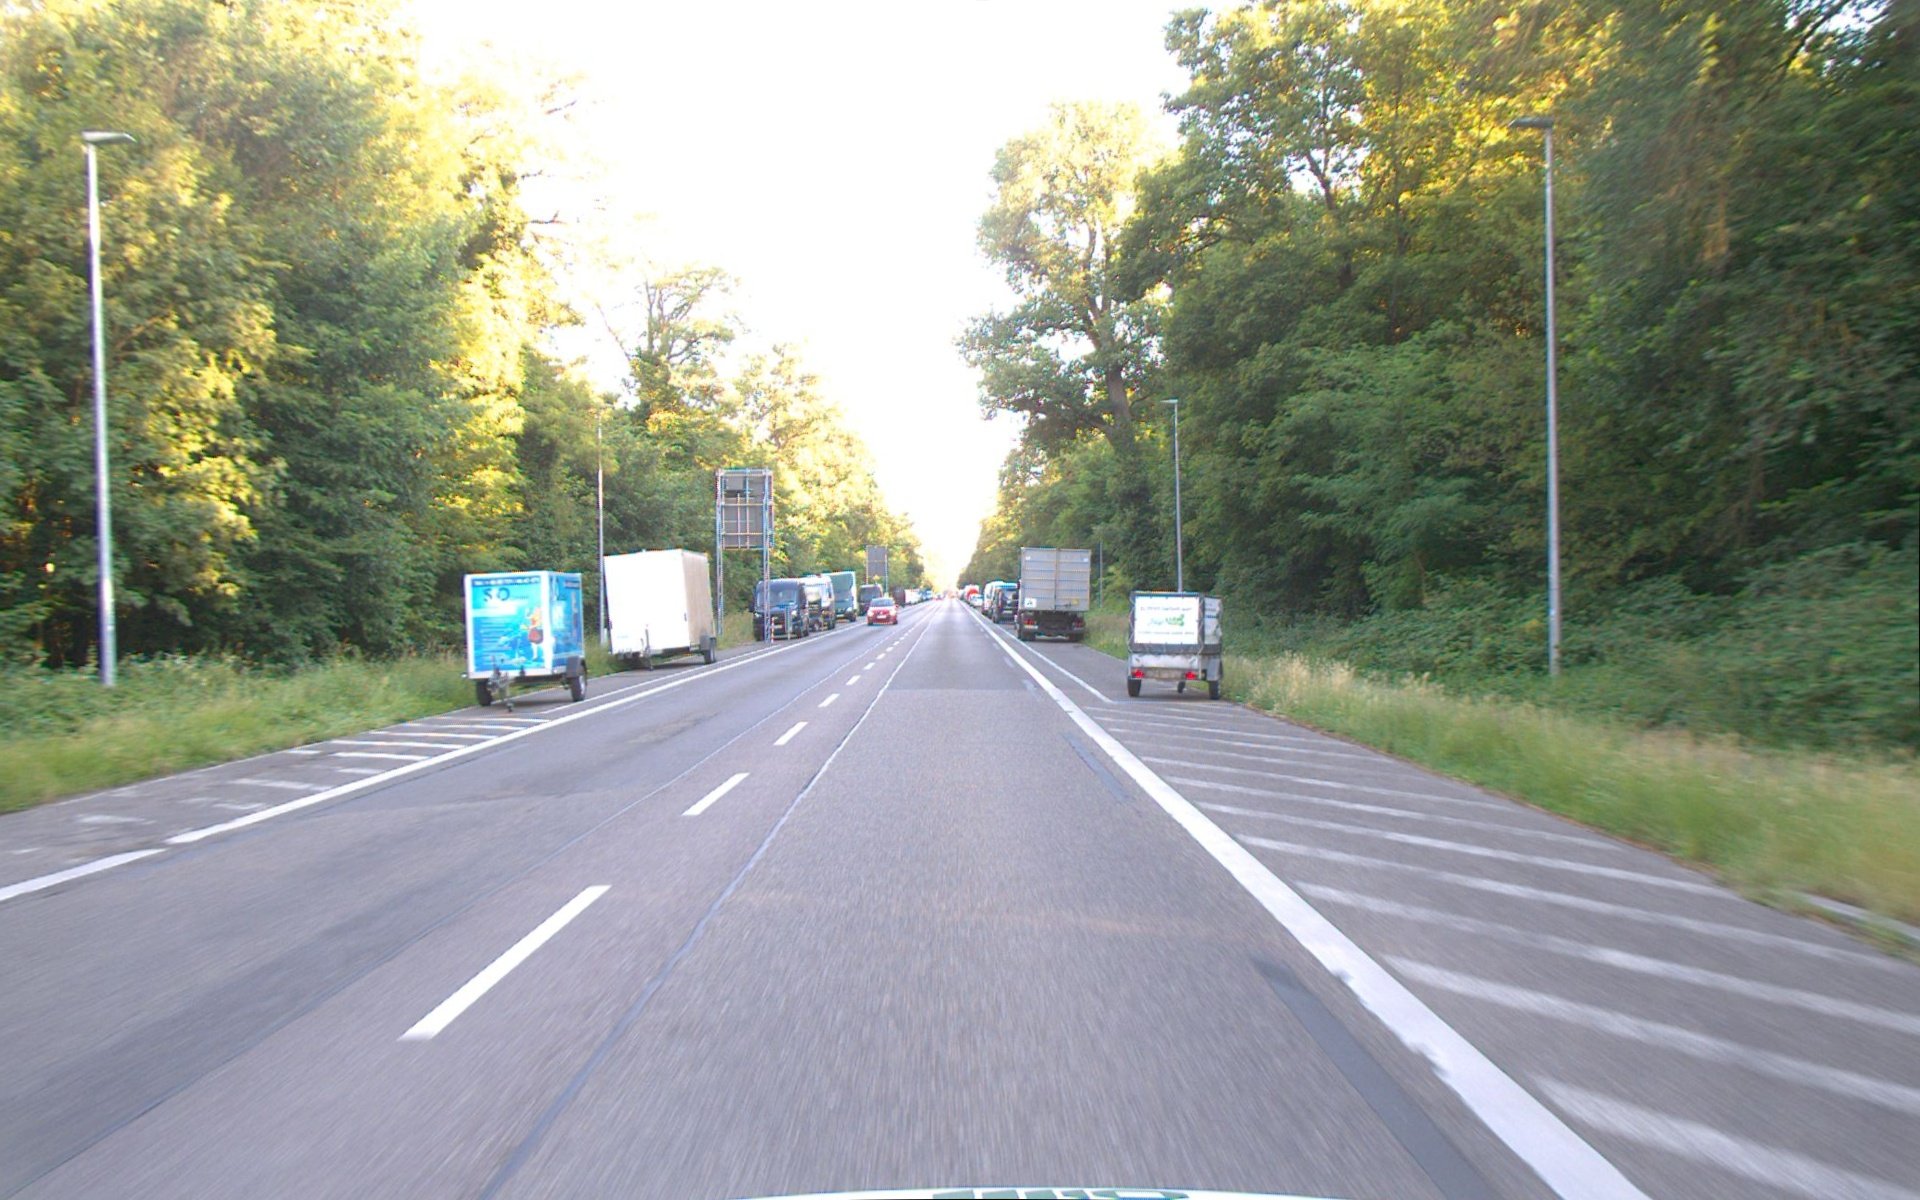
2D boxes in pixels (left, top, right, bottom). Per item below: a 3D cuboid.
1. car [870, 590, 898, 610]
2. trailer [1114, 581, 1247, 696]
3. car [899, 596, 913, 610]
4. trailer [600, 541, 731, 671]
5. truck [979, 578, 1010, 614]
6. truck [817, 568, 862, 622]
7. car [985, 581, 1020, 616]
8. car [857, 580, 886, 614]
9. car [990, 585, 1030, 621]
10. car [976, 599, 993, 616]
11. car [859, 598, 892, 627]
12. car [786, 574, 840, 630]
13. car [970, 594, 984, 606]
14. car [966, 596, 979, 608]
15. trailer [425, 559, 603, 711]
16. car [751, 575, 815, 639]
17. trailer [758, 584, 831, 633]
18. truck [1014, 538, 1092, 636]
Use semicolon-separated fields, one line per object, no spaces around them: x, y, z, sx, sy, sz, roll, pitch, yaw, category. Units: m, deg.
-8.071;0.029;175.176;1.664;2.049;4.002;1;1;18;car
3.641;0.569;26.813;1.425;1.691;3.779;-2;0;18;trailer
-8.237;0.499;253.020;1.954;2.049;3.997;-1;-1;-3;car
-7.446;0.124;42.408;2.279;2.975;5.626;-3;0;-1;trailer
2.619;-0.274;125.355;2.098;2.706;4.297;0;0;-3;truck
-7.994;-0.345;110.724;2.453;3.387;6.841;-2;0;-1;truck
2.864;-0.113;112.269;2.098;2.354;4.297;0;0;-3;car
-7.760;-0.296;145.483;2.142;2.837;5.333;-2;0;-1;car
2.795;0.170;93.004;1.954;1.989;4.297;0;0;-3;car
1.958;0.599;131.593;1.124;1.273;2.752;-3;0;-3;car
-4.736;0.684;93.115;1.648;1.512;4.037;-2;0;-1;car
-7.521;0.092;85.266;2.203;2.694;5.720;-2;0;-1;car
1.952;0.011;190.235;1.398;1.243;3.411;-3;0;0;car
1.574;0.265;207.123;1.612;1.512;4.000;0;0;-1;car
-7.115;0.518;26.800;1.780;2.205;4.142;-2;0;-1;trailer
-7.318;0.273;68.842;1.953;2.405;5.765;-4;0;-1;car
-7.947;0.392;79.733;1.922;2.192;3.930;-2;0;21;trailer
3.243;-0.427;59.210;2.535;3.312;7.221;0;0;1;truck
